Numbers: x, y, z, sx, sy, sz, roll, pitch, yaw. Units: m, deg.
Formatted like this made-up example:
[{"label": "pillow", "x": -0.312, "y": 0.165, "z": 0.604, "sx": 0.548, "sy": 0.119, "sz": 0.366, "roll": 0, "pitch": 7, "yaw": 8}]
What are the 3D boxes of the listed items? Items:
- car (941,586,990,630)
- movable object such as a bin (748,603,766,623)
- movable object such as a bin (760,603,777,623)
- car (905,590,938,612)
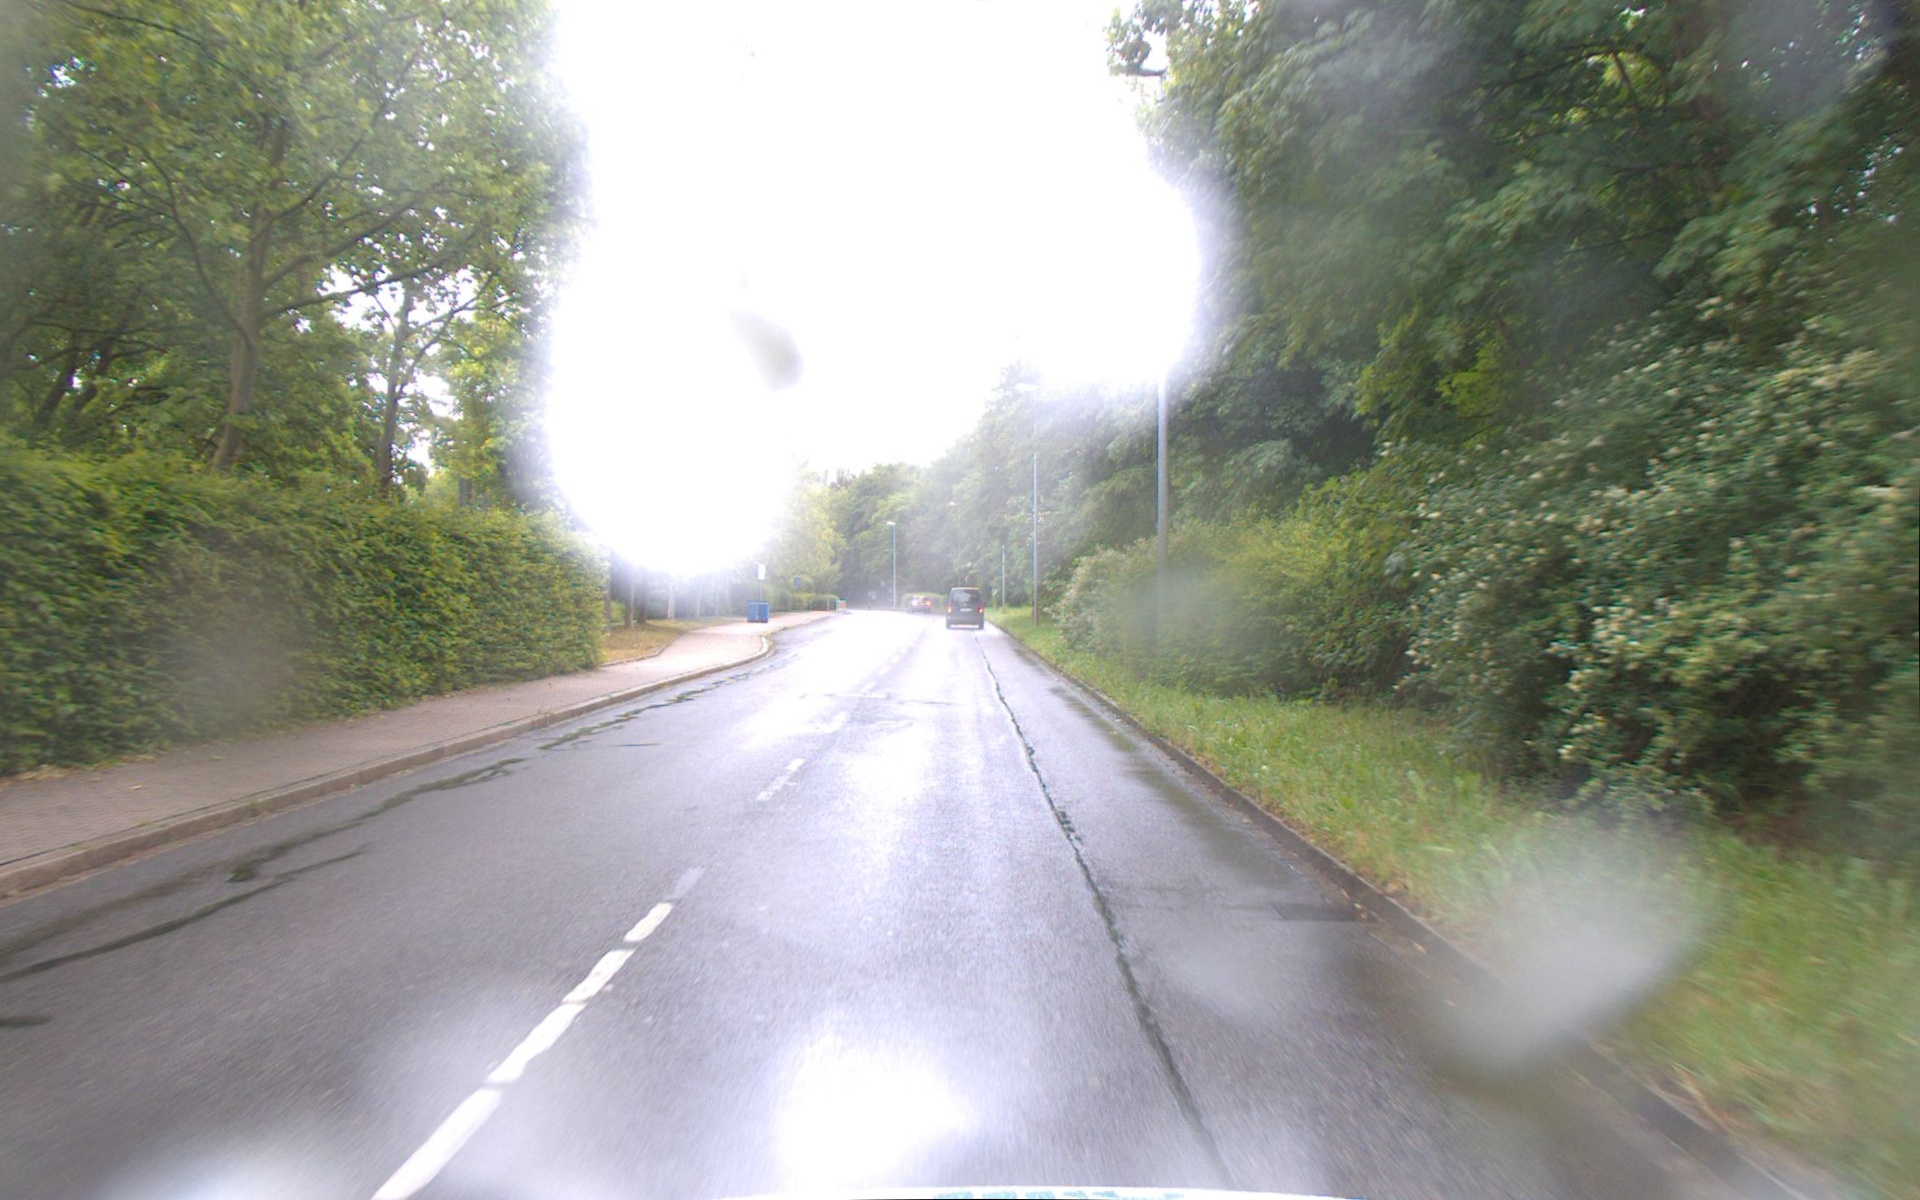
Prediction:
[{"label": "car", "x": 0.224, "y": 0.334, "z": 76.054, "sx": 1.954, "sy": 1.825, "sz": 3.998, "roll": 3, "pitch": 1, "yaw": -3}, {"label": "movable object such as a bin", "x": -11.169, "y": 0.707, "z": 90.863, "sx": 0.659, "sy": 1.044, "sz": 0.826, "roll": -2, "pitch": 0, "yaw": -32}, {"label": "movable object such as a bin", "x": -10.561, "y": 0.705, "z": 91.231, "sx": 0.659, "sy": 1.044, "sz": 0.826, "roll": -2, "pitch": 0, "yaw": -32}, {"label": "car", "x": -3.285, "y": 0.100, "z": 140.441, "sx": 1.961, "sy": 1.803, "sz": 3.984, "roll": -1, "pitch": 0, "yaw": -15}]
